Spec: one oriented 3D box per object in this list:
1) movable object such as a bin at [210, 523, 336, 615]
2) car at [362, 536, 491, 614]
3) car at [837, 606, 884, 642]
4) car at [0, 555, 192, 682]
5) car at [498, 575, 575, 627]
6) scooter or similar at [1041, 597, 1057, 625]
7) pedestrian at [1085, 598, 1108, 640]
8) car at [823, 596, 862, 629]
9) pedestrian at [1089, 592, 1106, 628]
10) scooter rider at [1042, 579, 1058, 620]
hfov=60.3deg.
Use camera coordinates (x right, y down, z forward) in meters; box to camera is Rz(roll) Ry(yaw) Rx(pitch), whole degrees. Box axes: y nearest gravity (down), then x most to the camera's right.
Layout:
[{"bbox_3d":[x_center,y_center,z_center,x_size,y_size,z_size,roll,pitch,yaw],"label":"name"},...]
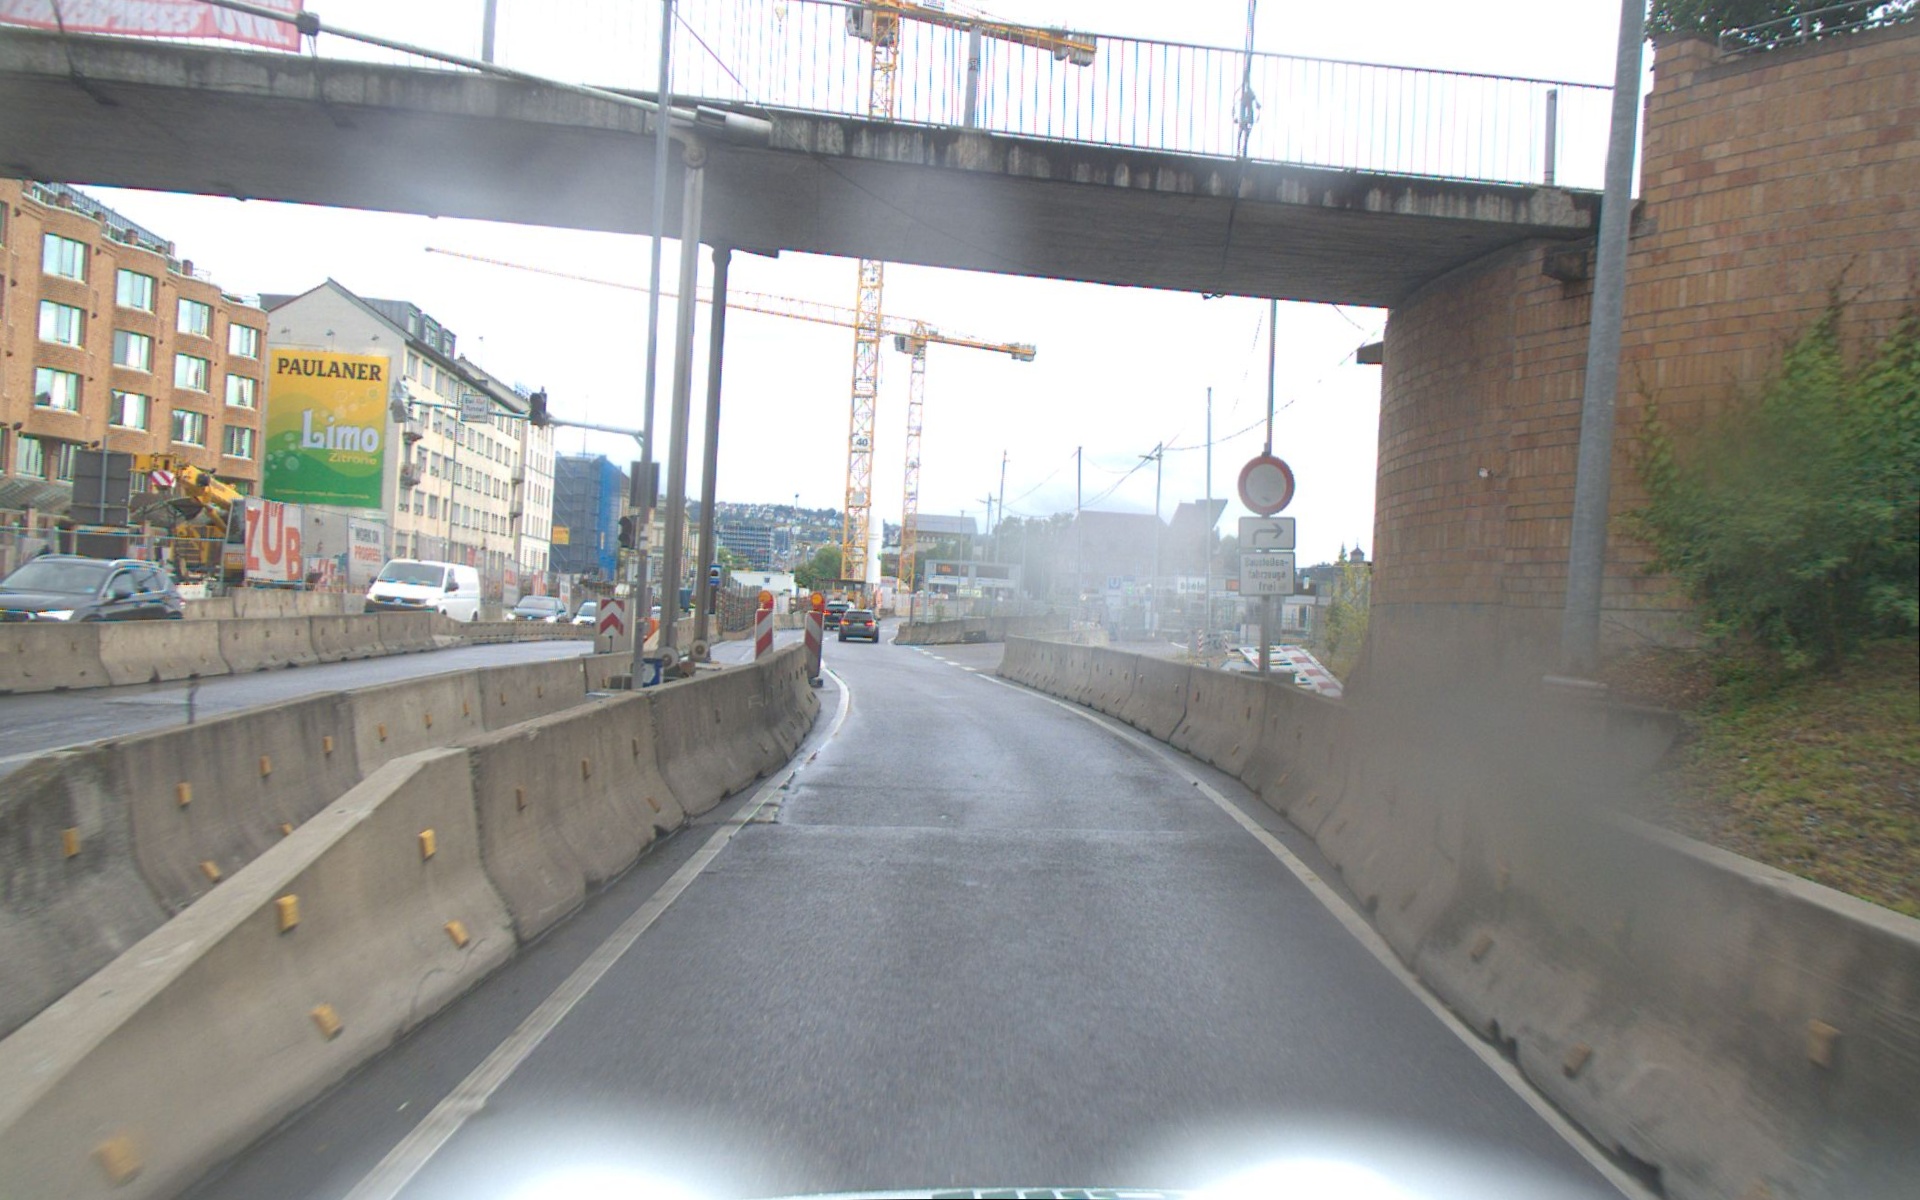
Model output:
[{"bbox_3d":[-18.347,-0.822,44.359,1.988,2.317,4.287,-1,1,-7],"label":"movable object such as a bin"},{"bbox_3d":[-13.871,-0.686,43.355,1.769,1.853,5.299,2,2,-2],"label":"car"},{"bbox_3d":[-4.520,1.122,75.501,1.825,1.458,4.655,3,-2,-1],"label":"car"},{"bbox_3d":[-13.253,0.206,24.712,1.769,1.651,3.902,2,2,-2],"label":"car"},{"bbox_3d":[-15.163,0.000,59.334,1.769,1.651,4.033,2,1,-2],"label":"car"},{"bbox_3d":[3.966,0.497,73.489,0.480,1.200,1.097,2,1,15],"label":"scooter or similar"},{"bbox_3d":[5.977,0.848,72.637,0.680,1.809,0.810,2,-1,-22],"label":"pedestrian"},{"bbox_3d":[-6.784,0.701,95.933,1.825,1.689,4.656,3,1,0],"label":"car"},{"bbox_3d":[7.047,0.510,84.678,0.676,1.809,1.022,2,0,-4],"label":"pedestrian"},{"bbox_3d":[3.985,-0.029,73.481,0.510,1.786,0.700,2,1,15],"label":"scooter rider"}]
